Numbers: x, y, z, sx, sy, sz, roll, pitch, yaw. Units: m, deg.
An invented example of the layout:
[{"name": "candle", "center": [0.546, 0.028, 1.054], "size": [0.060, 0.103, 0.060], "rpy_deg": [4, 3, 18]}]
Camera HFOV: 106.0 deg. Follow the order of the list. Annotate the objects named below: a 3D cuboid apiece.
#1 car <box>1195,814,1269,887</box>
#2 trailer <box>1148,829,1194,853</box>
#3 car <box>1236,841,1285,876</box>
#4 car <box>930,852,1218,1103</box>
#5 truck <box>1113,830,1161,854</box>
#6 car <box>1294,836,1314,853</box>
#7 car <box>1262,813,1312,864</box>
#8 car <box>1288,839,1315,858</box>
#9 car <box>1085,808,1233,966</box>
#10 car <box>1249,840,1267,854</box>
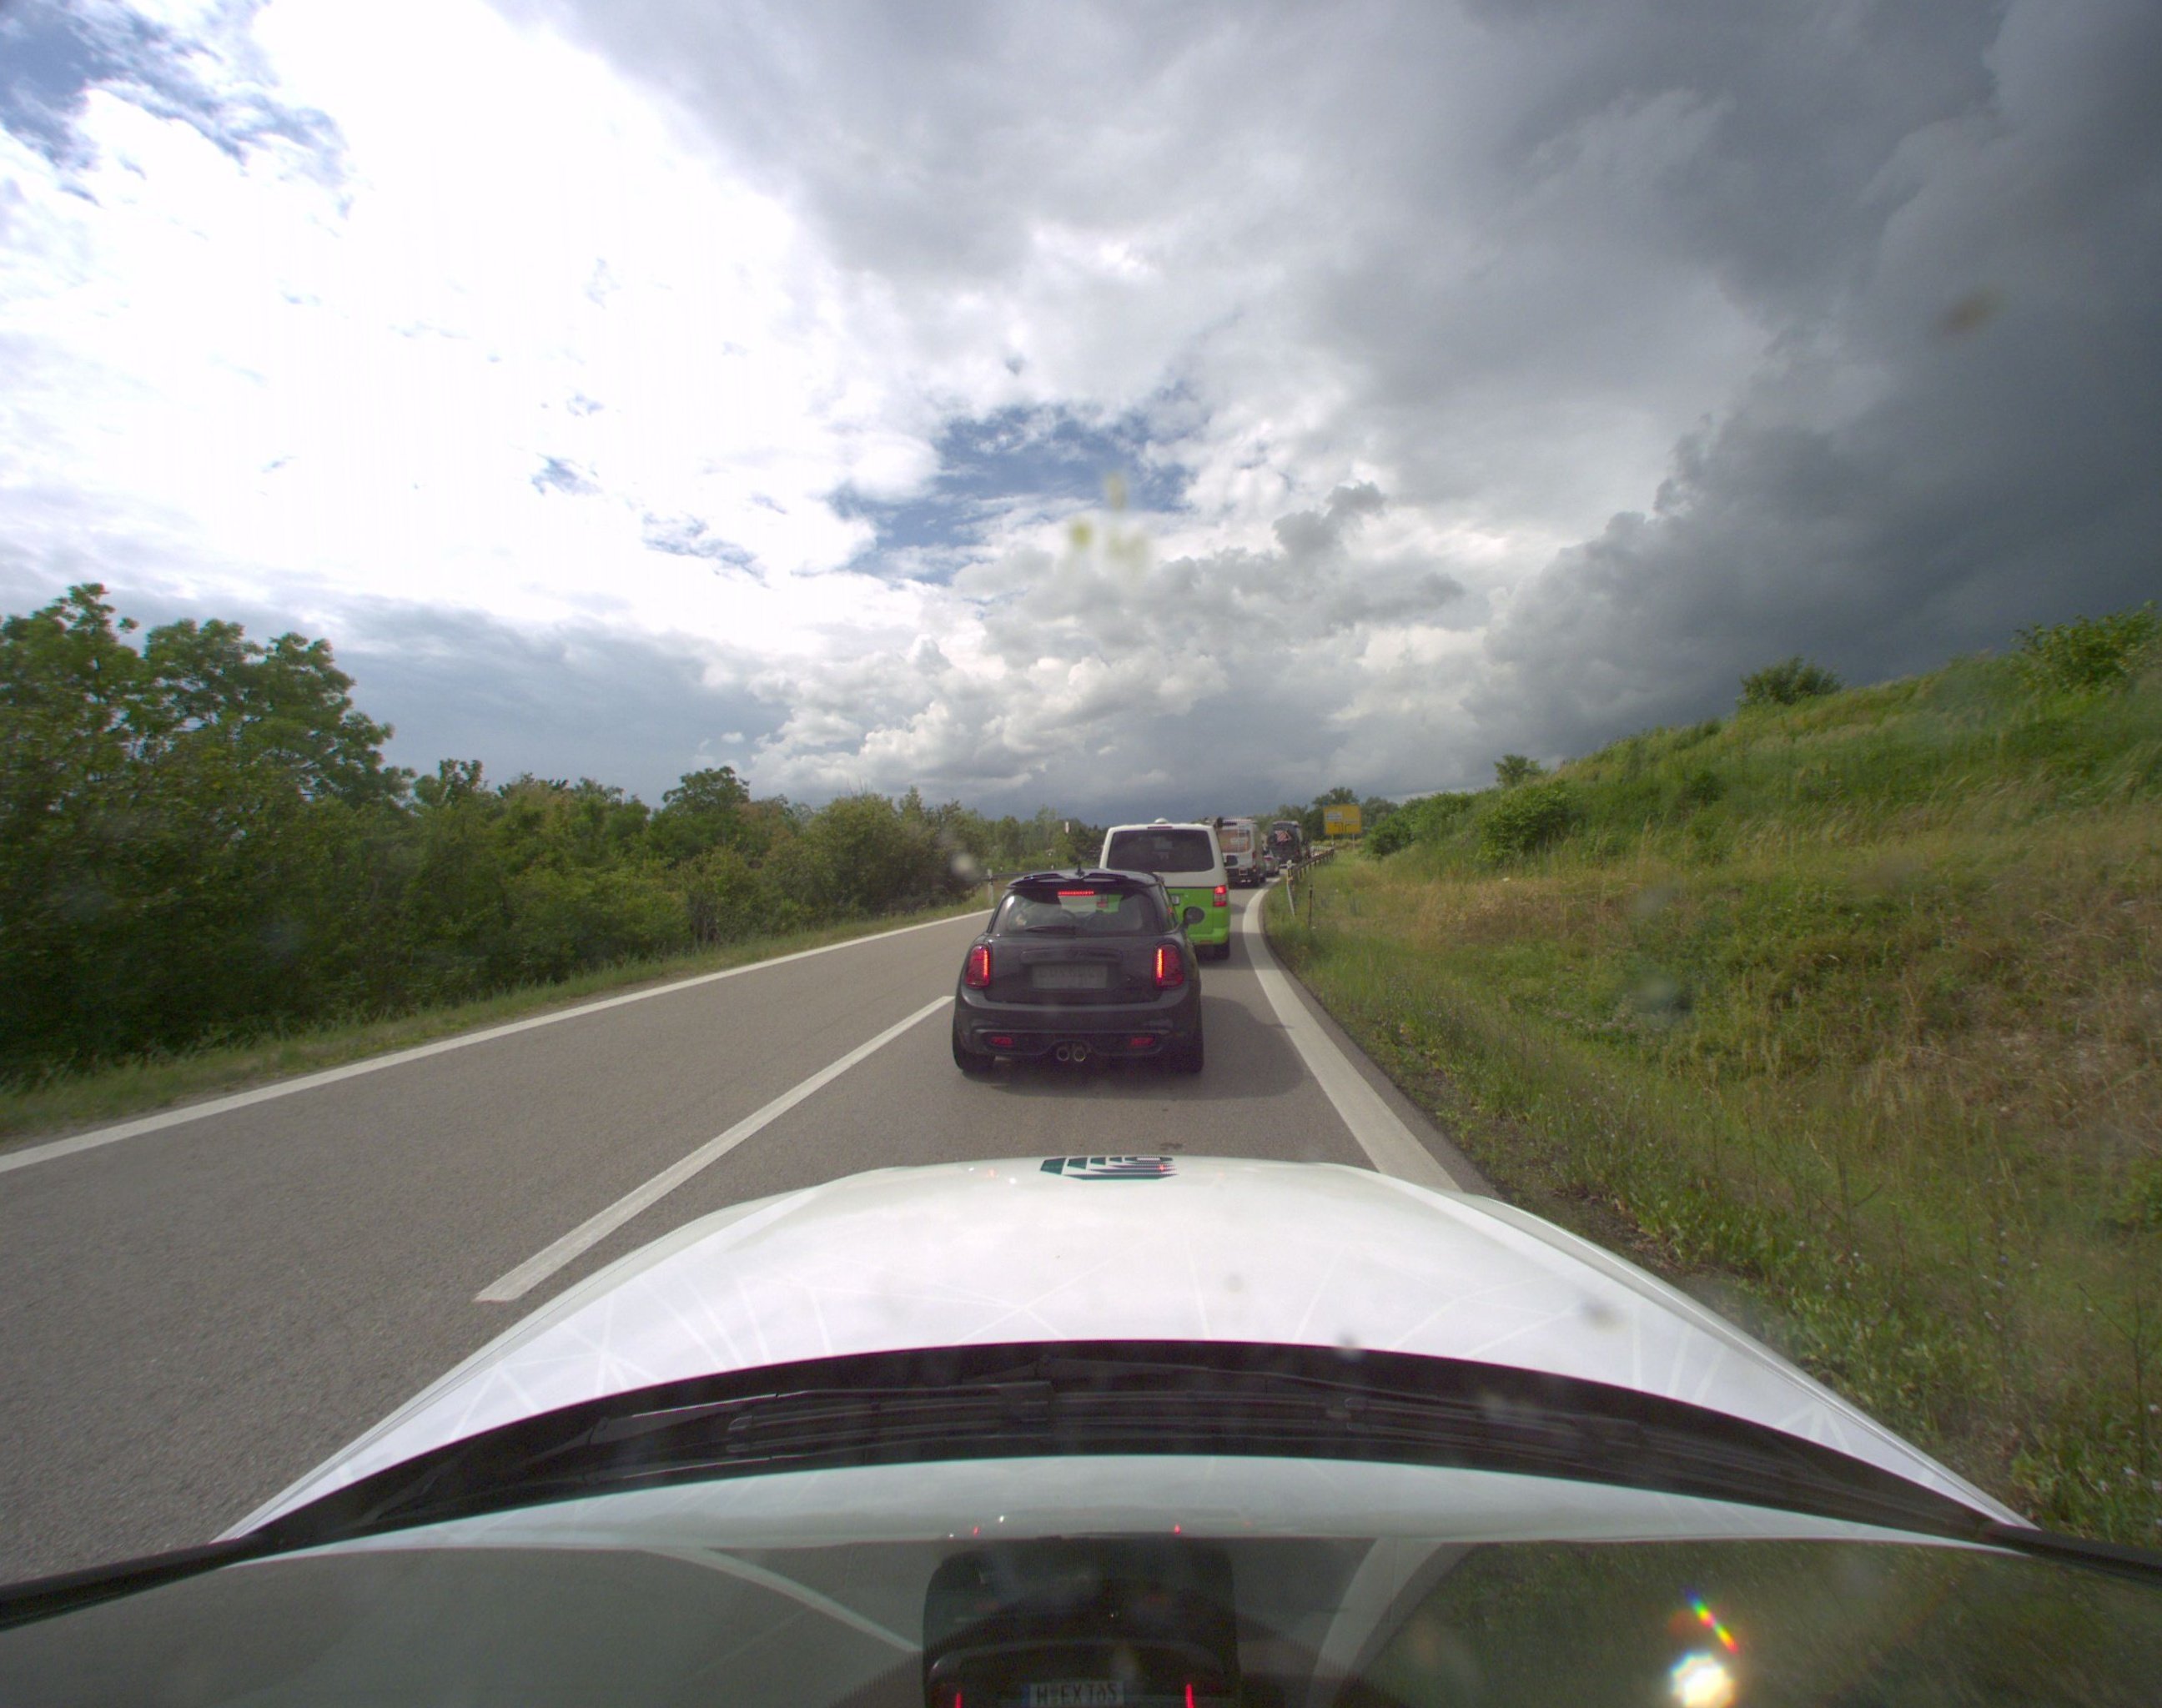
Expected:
[{"name": "car", "center": [6.069, -0.093, 32.152], "size": [2.194, 2.622, 5.559], "rpy_deg": [-1, -1, 18]}, {"name": "trailer", "center": [15.069, -2.110, 137.365], "size": [3.056, 3.898, 8.686], "rpy_deg": [0, -1, -31]}, {"name": "car", "center": [8.896, 0.241, 40.208], "size": [1.978, 1.642, 3.946], "rpy_deg": [-1, -1, 17]}, {"name": "car", "center": [0.139, 0.771, 6.966], "size": [1.790, 1.546, 3.745], "rpy_deg": [-1, 0, 6]}, {"name": "truck", "center": [9.895, -2.126, 145.037], "size": [2.858, 3.976, 9.917], "rpy_deg": [0, -1, -37]}, {"name": "car", "center": [25.952, -1.060, 94.934], "size": [2.080, 1.883, 4.511], "rpy_deg": [-1, -1, 13]}, {"name": "car", "center": [13.183, -0.896, 51.844], "size": [2.291, 3.069, 6.696], "rpy_deg": [-1, -1, 21]}, {"name": "car", "center": [19.414, -0.434, 71.619], "size": [1.877, 1.588, 4.518], "rpy_deg": [-1, -1, 20]}, {"name": "car", "center": [1.390, 0.438, 12.763], "size": [1.899, 2.045, 4.193], "rpy_deg": [-1, 0, 10]}, {"name": "car", "center": [24.816, -0.897, 114.354], "size": [2.084, 1.883, 4.504], "rpy_deg": [0, -1, 7]}]
